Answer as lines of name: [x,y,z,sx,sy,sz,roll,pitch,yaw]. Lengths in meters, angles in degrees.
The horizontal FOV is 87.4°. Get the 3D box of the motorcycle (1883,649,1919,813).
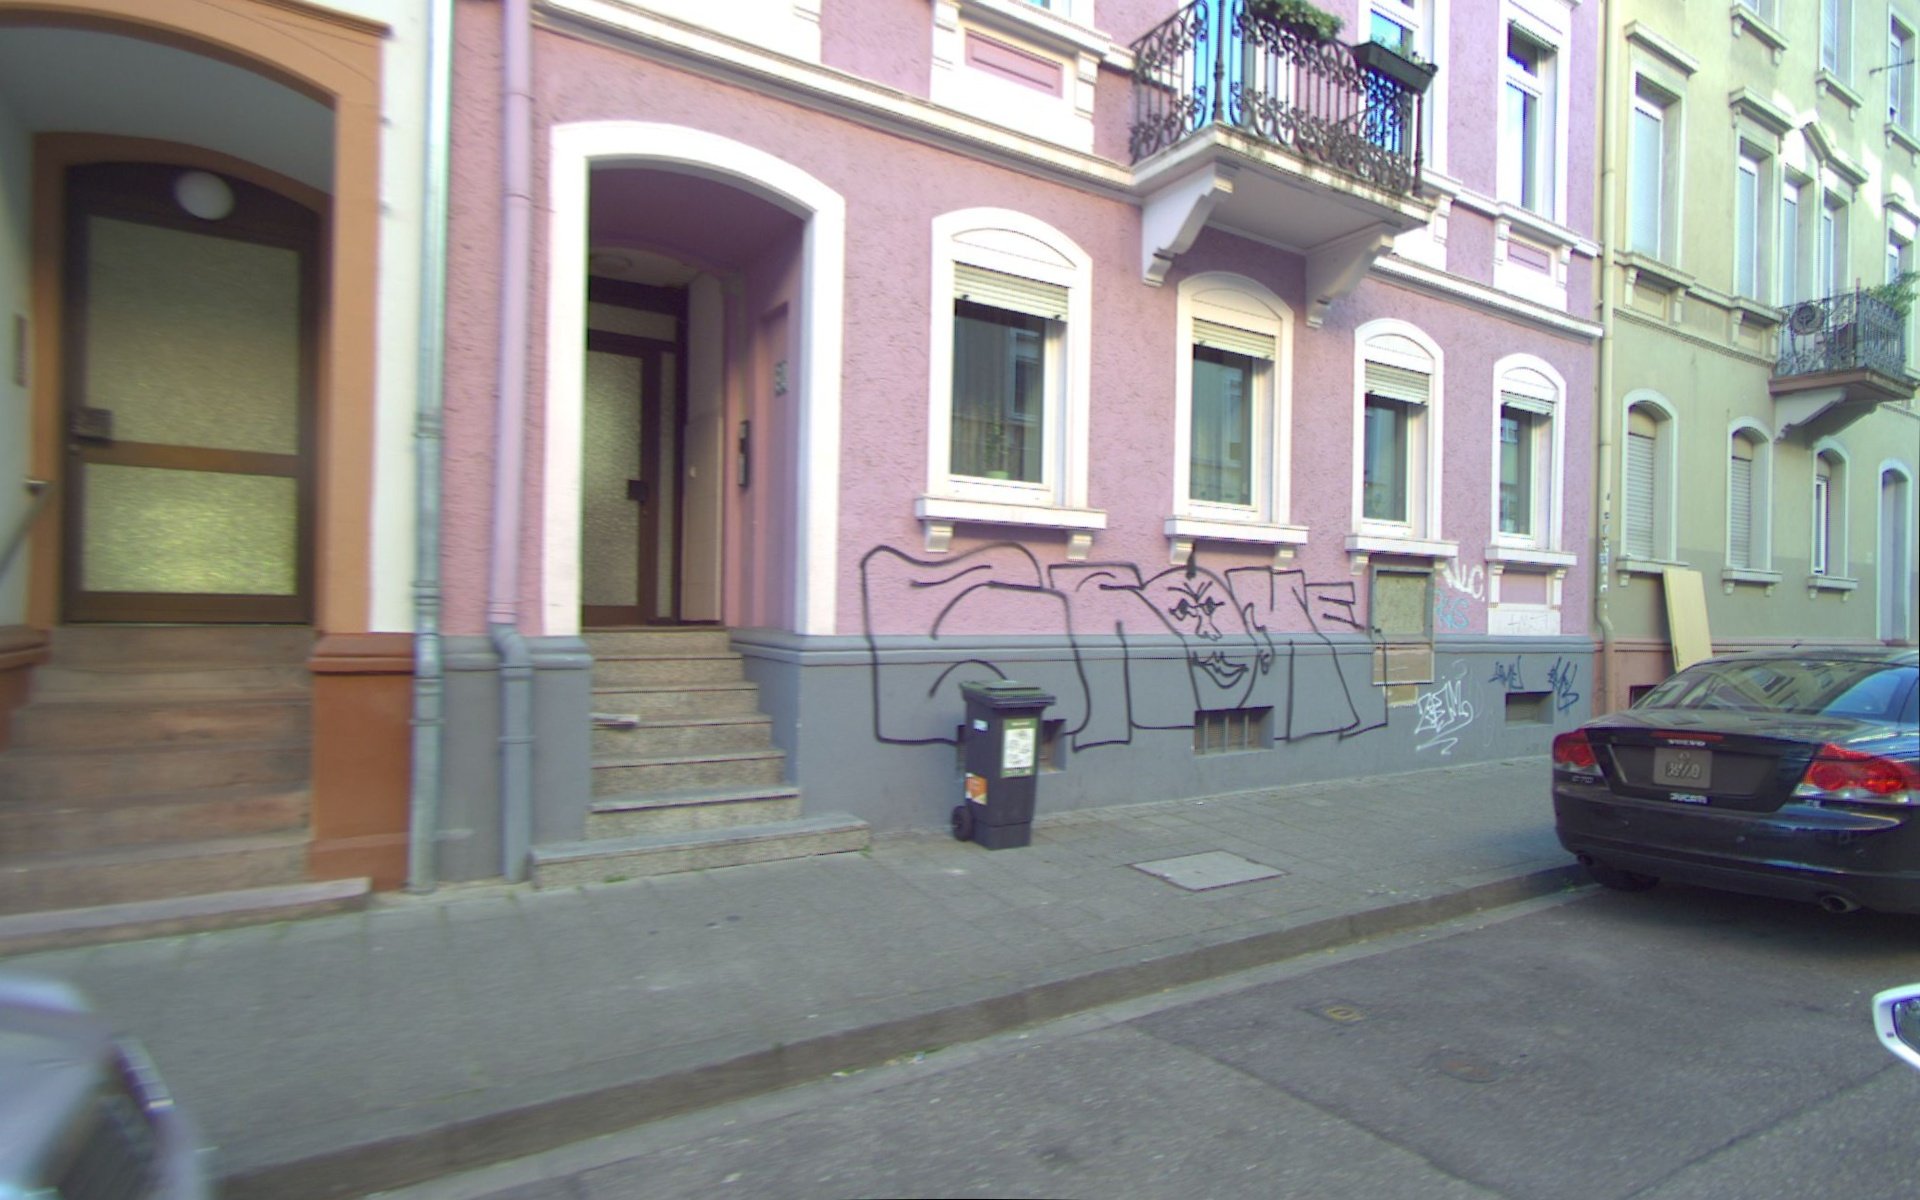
motorcycle: [8.965,1.068,8.126,2.122,1.377,0.537,-4,-4,41]

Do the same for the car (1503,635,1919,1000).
car: [5.222,0.916,5.748,4.303,1.401,1.703,1,-2,-30]

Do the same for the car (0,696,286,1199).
car: [-3.137,0.840,0.573,4.455,1.401,1.702,2,-3,-32]

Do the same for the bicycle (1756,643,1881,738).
bicycle: [10.983,1.125,12.823,2.055,1.103,0.589,2,0,-32]

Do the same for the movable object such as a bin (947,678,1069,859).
movable object such as a bin: [0.277,0.960,5.921,0.481,0.957,0.541,2,0,-30]
